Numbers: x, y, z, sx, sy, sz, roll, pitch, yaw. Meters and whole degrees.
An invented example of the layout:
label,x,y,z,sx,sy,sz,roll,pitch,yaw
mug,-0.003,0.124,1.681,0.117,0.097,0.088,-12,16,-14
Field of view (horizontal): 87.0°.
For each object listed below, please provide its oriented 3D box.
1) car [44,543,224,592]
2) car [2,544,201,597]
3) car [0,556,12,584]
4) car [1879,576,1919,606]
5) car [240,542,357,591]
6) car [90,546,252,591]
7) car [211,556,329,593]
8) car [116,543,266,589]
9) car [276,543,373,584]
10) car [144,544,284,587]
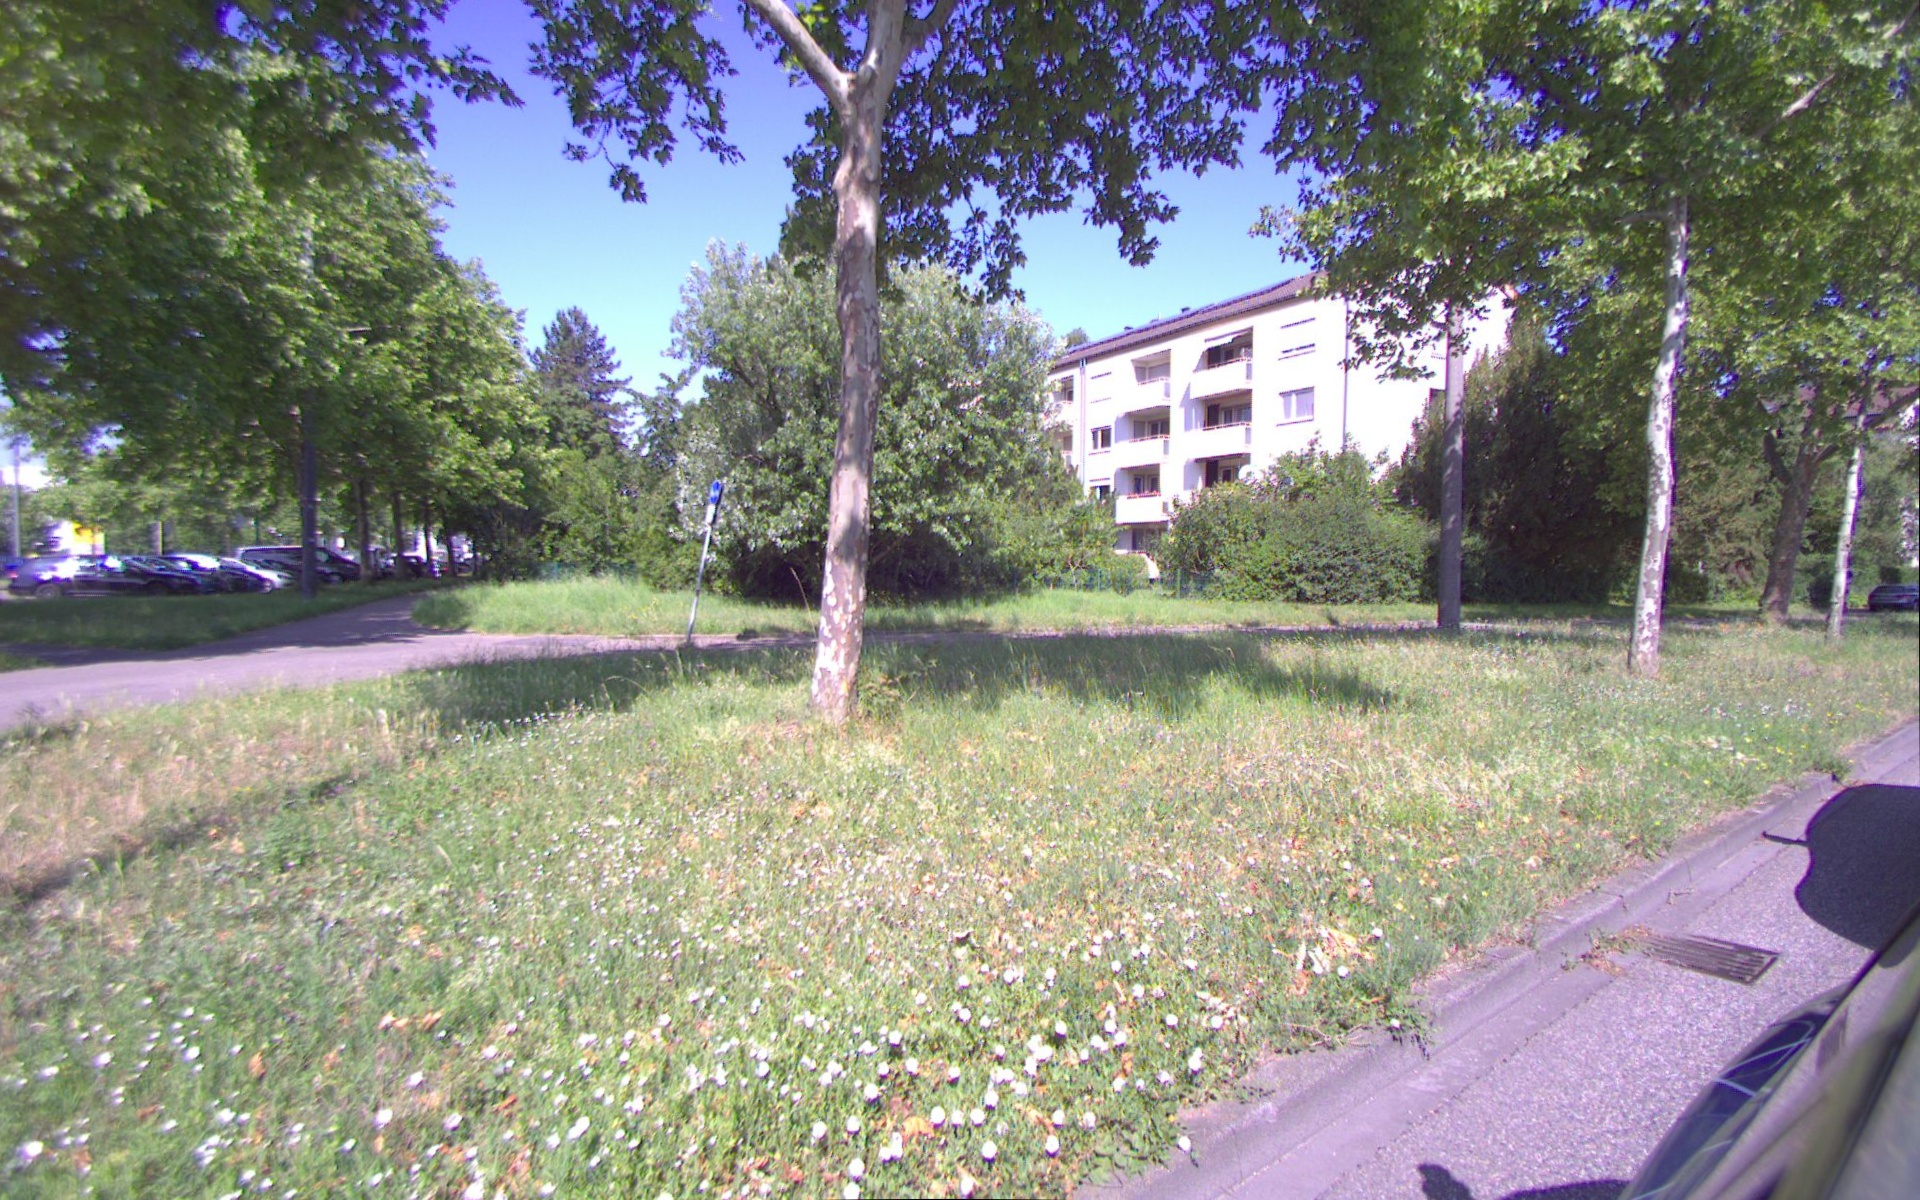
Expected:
label,x,y,z,sx,sy,sz,roll,pitch,yaw
car,-26.874,-1.047,33.129,4.267,1.509,2.003,0,2,-29
car,-25.946,-0.924,30.803,4.267,1.509,2.003,-1,2,-29
car,-64.817,-1.985,66.217,1.991,1.816,3.941,0,1,41
car,47.809,-0.459,50.454,4.004,1.389,1.510,0,2,-25
car,-32.002,-1.614,49.123,4.494,2.318,2.004,0,2,-24
car,-27.843,-1.097,35.901,4.267,1.509,2.003,0,2,-29
car,-31.403,-1.170,46.227,4.267,1.653,2.003,0,2,-29
car,-28.964,-1.265,38.310,4.267,1.653,2.002,0,1,-29
car,-35.747,-2.032,57.067,4.497,2.236,2.003,0,2,-29
car,-29.833,-1.376,40.651,4.267,1.653,2.003,0,2,-29
